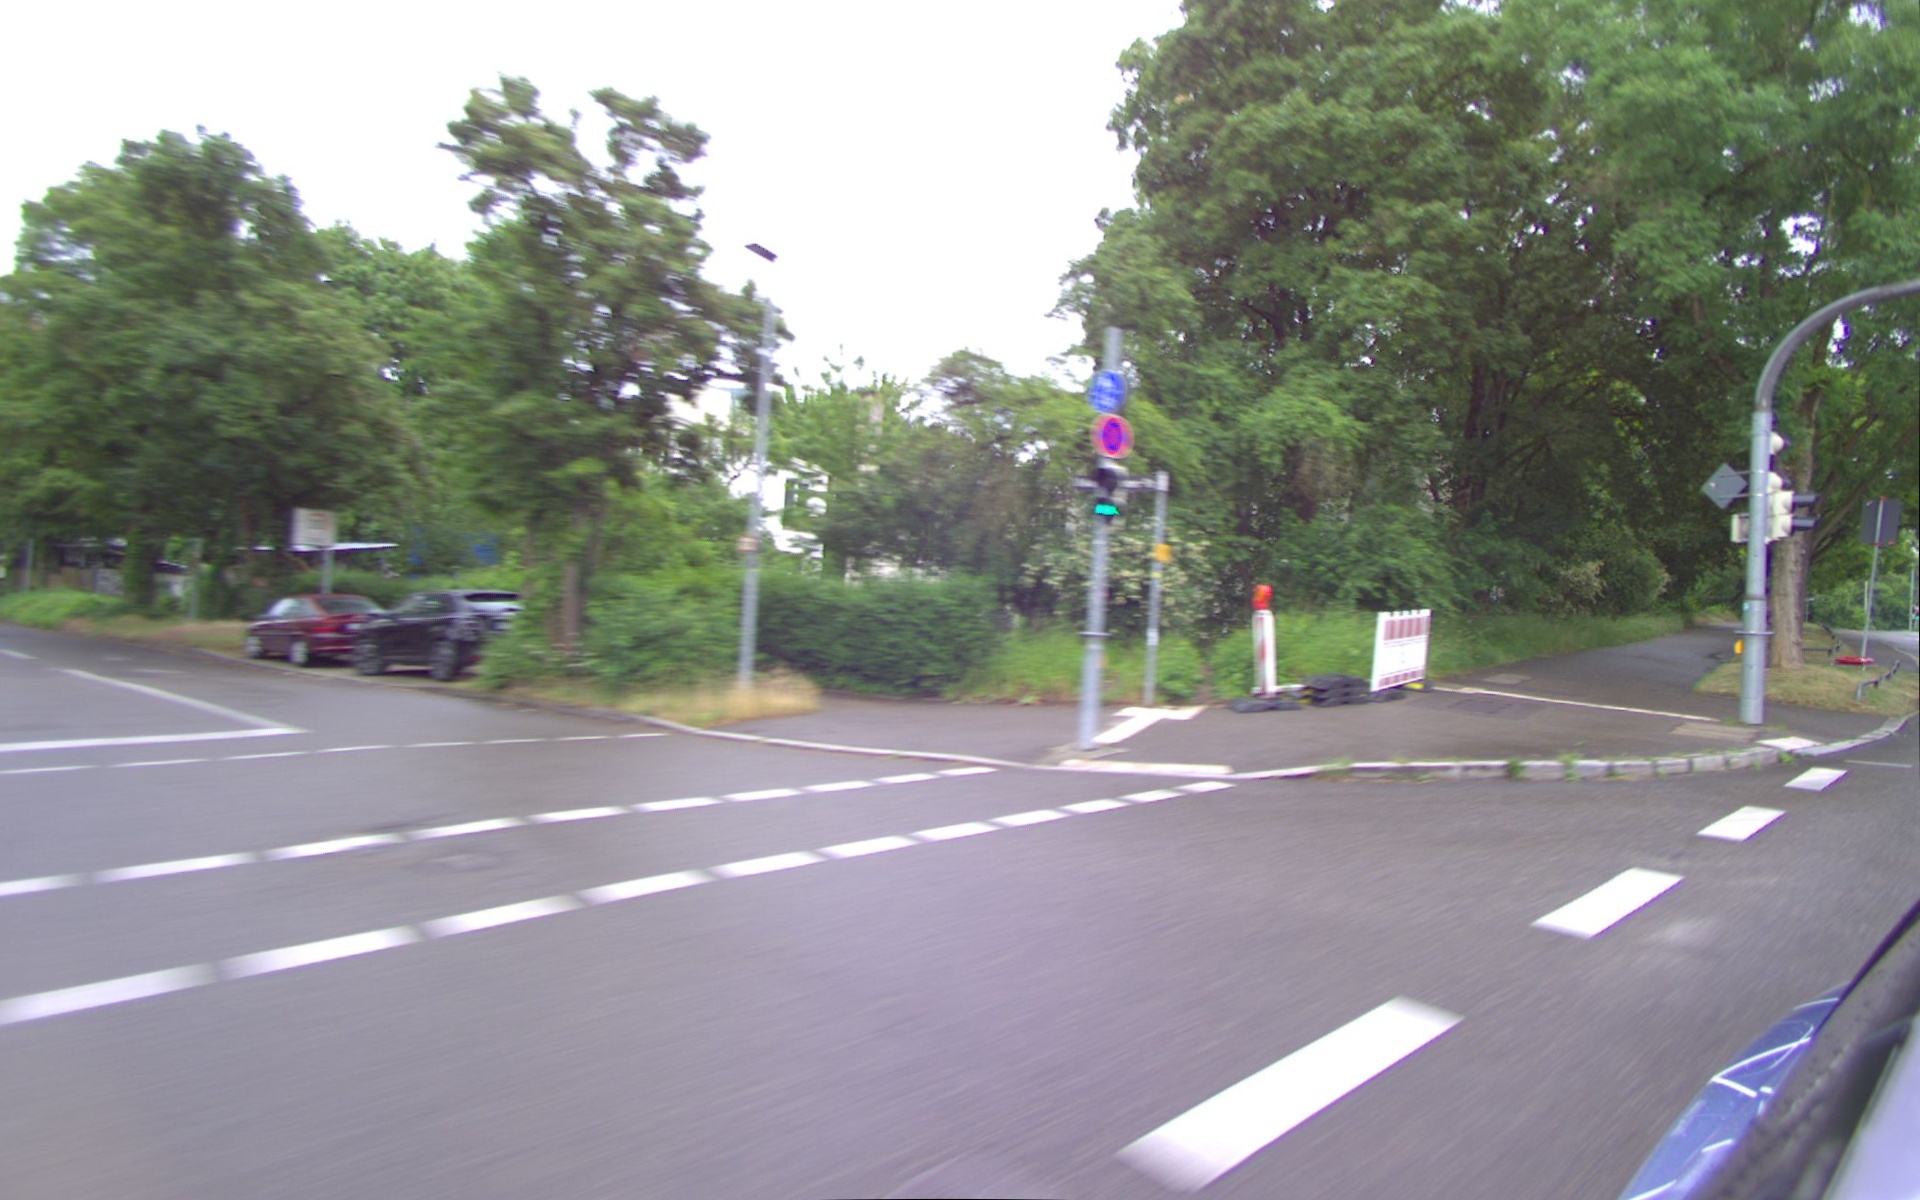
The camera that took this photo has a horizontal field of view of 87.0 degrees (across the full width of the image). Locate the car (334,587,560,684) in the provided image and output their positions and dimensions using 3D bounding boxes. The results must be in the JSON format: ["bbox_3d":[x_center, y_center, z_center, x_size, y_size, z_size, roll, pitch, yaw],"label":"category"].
[{"bbox_3d":[-9.170,0.564,18.047,3.968,1.554,1.810,0,0,32],"label":"car"}]

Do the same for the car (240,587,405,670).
[{"bbox_3d":[-13.254,0.526,20.969,3.981,1.517,1.732,1,1,40],"label":"car"}]

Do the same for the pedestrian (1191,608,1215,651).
[{"bbox_3d":[5.840,0.708,24.322,0.373,0.994,0.399,2,1,44],"label":"pedestrian"}]
